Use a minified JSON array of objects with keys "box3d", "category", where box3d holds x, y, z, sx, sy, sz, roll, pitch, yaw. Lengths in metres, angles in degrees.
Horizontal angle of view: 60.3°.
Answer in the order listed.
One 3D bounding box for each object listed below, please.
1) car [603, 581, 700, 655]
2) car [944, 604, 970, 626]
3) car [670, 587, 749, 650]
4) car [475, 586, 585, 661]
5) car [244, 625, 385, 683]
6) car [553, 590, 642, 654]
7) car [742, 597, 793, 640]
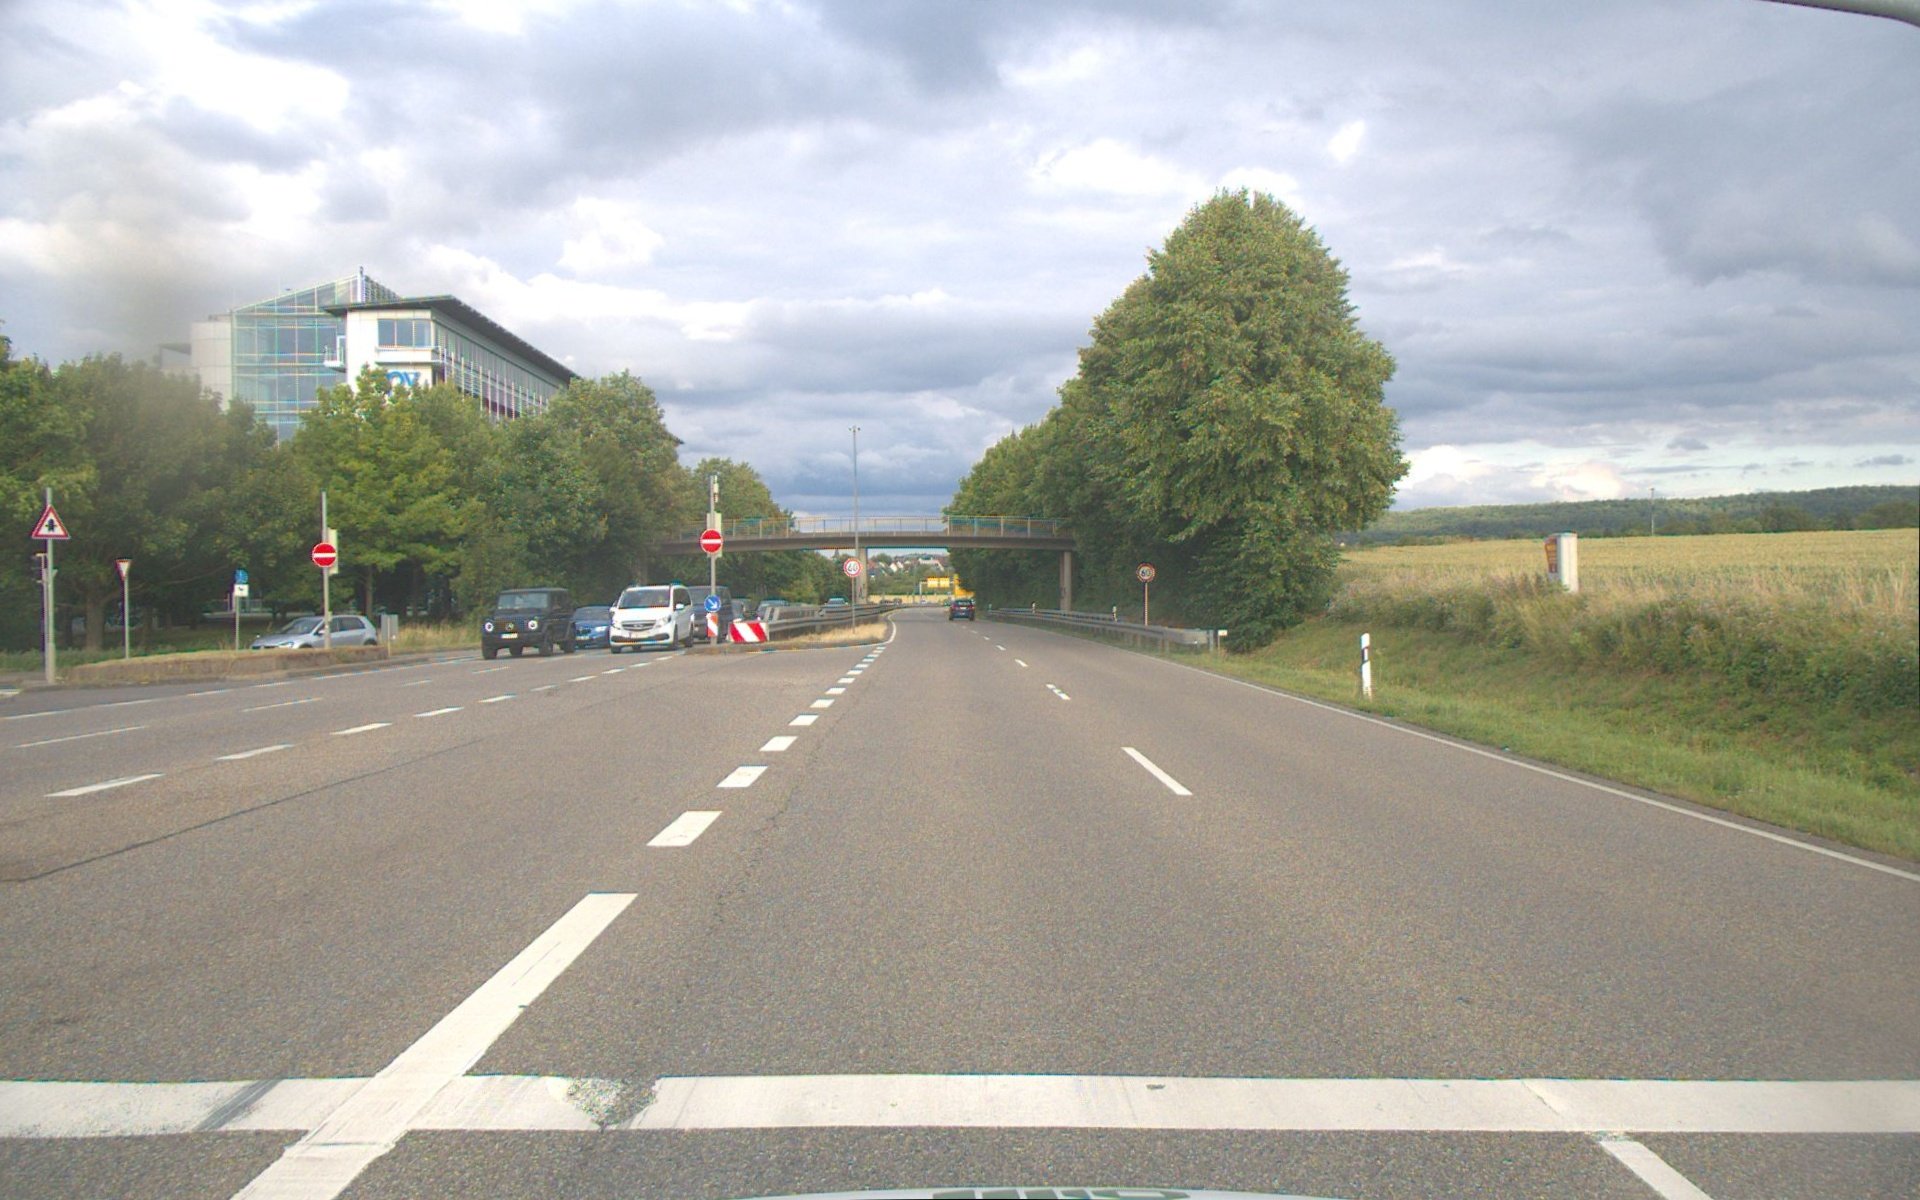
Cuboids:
[{"box3d":[-9.114,0.532,49.282,2.041,2.049,5.214,1,0,-2],"category":"car"},{"box3d":[-0.240,1.098,121.743,1.841,1.579,3.999,1,0,-1],"category":"car"},{"box3d":[-8.575,0.624,57.026,2.041,2.049,5.214,1,0,-2],"category":"car"},{"box3d":[-12.674,0.671,49.115,2.041,2.049,5.214,1,0,-2],"category":"car"},{"box3d":[-19.104,1.577,49.081,1.551,1.365,3.746,-4,1,28],"category":"car"},{"box3d":[-12.339,0.714,56.621,2.041,2.049,5.214,1,0,-2],"category":"car"},{"box3d":[-9.489,0.896,81.987,2.041,2.049,5.214,1,0,-2],"category":"car"}]
